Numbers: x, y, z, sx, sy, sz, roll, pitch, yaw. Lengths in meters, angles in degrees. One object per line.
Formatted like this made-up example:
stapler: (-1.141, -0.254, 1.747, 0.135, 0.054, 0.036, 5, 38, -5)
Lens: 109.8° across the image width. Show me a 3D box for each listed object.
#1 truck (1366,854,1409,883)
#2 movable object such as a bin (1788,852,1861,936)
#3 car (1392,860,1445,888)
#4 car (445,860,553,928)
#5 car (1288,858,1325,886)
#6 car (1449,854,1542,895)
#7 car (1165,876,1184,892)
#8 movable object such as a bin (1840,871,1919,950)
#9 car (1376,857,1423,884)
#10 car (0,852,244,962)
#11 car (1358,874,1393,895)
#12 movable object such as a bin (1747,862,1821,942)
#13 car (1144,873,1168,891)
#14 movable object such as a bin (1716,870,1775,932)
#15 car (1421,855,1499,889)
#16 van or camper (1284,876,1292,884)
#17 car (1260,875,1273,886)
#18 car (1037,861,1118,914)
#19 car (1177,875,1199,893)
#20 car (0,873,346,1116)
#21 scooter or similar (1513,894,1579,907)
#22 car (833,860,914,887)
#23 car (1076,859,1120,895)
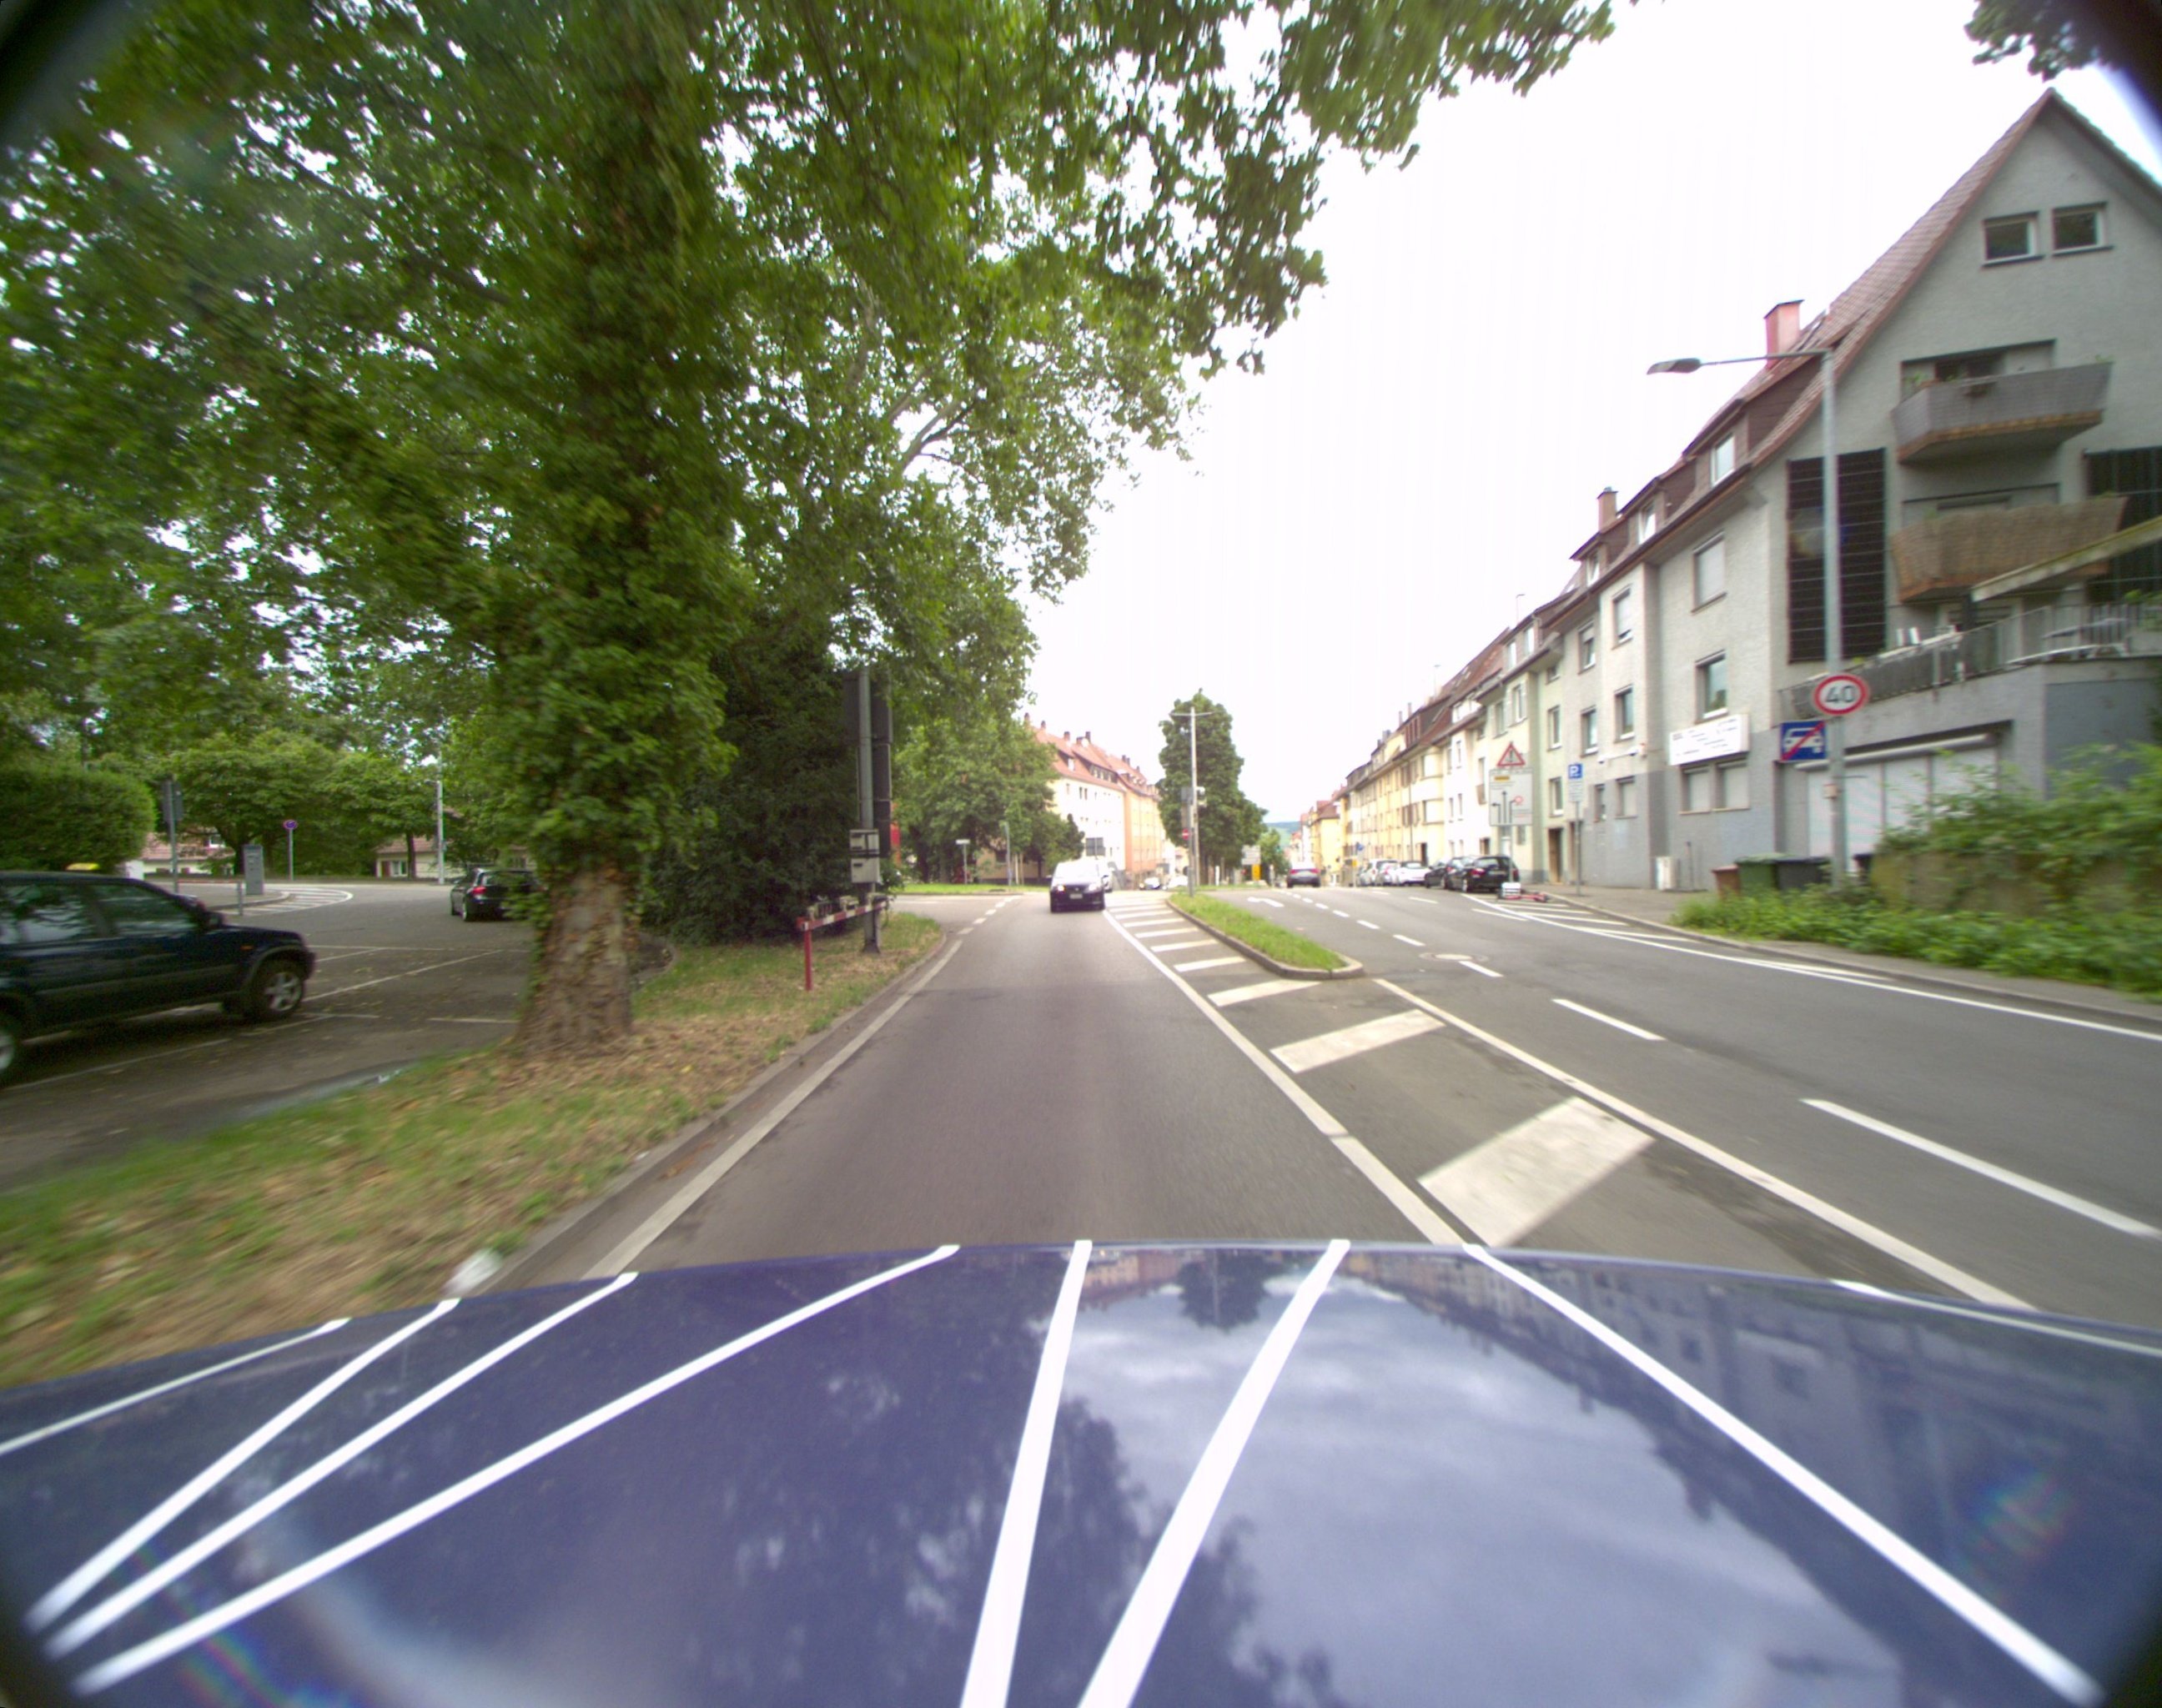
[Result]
truck: (21.414, 1.055, 53.266, 1.996, 1.908, 5.355, -1, -2, 13)
movable object such as a bin: (11.024, 0.588, 11.278, 0.582, 1.178, 0.430, -4, 0, -1)
car: (18.978, 1.147, 42.896, 1.996, 1.465, 4.164, -1, -2, 14)
car: (-16.300, 1.051, 21.183, 1.867, 1.476, 4.412, 3, 1, -44)
car: (14.754, 1.170, 49.953, 1.873, 1.688, 4.940, -1, 0, 11)
car: (15.398, 0.780, 28.504, 1.996, 1.392, 4.524, -1, -2, 14)
car: (10.420, 3.298, 84.375, 1.782, 1.583, 3.537, 1, 0, 12)
movable object such as a bin: (10.984, 0.769, 10.464, 0.557, 1.019, 0.430, -4, 0, -1)
car: (19.920, 1.080, 47.728, 1.996, 1.542, 4.388, -1, -2, 13)
car: (-16.605, 0.769, 11.835, 1.999, 1.569, 4.902, 0, 0, -6)
car: (22.838, 2.383, 59.088, 1.996, 1.542, 4.164, -1, -2, 13)
movable object such as a bin: (10.944, 0.739, 11.836, 0.606, 1.178, 0.492, -4, 0, -1)
car: (6.970, 2.559, 70.243, 1.782, 1.583, 3.537, 1, 0, 12)
movable object such as a bin: (10.938, 0.763, 12.520, 0.517, 0.961, 0.444, -4, 0, -1)
car: (16.752, 0.839, 33.793, 1.997, 1.414, 4.217, -1, -2, 10)
van or camper: (53.340, 6.702, 195.538, 1.910, 1.750, 4.662, -2, -3, 14)
car: (26.287, 3.793, 107.545, 1.748, 1.458, 4.592, -2, -3, 13)
car: (-0.027, 1.001, 23.521, 1.602, 1.448, 3.689, -3, -2, 13)
car: (10.271, 2.855, 72.763, 1.782, 1.583, 3.537, 1, 0, 12)
car: (-9.021, 1.084, 6.291, 1.815, 1.655, 4.879, 0, 1, -11)
scooter or similar: (12.658, 1.254, 20.721, 1.126, 0.286, 1.099, 0, 0, -1)
car: (-11.202, 1.083, 41.179, 4.133, 1.419, 1.861, 1, -3, -14)
car: (0.903, 1.140, 37.734, 1.779, 1.597, 4.166, -4, -2, 6)
